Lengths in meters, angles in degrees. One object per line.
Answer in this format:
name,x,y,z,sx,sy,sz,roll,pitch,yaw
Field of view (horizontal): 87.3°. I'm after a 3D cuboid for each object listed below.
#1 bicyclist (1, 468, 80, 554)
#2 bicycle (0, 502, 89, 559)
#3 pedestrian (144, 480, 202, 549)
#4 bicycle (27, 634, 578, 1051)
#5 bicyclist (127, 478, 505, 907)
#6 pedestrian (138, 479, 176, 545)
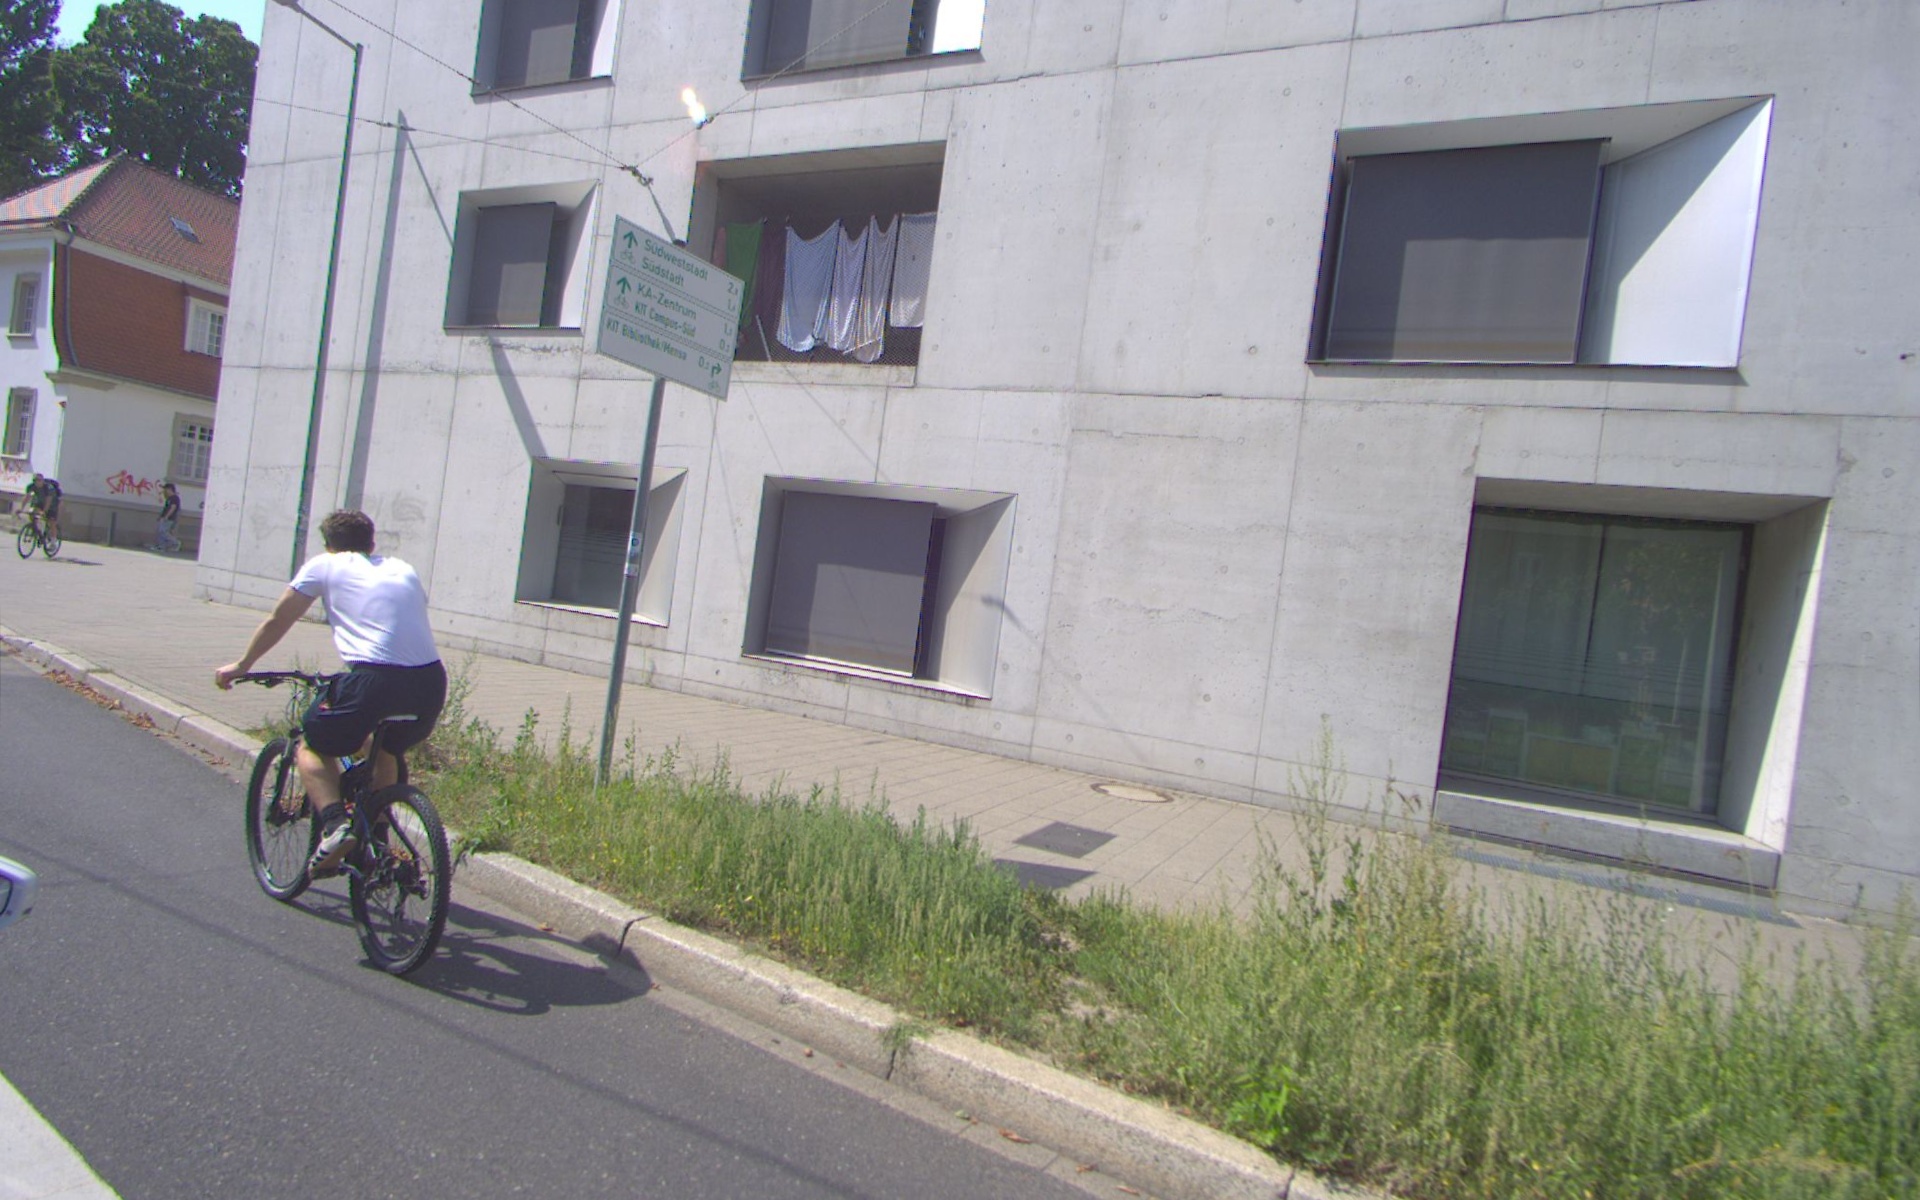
bicyclist,-19.017,-1.813,20.830,0.618,1.618,0.991,8,0,-9
bicycle,-19.108,-1.426,20.908,0.605,1.011,1.709,8,-1,-8
pedestrian,-21.360,-2.326,27.321,0.717,1.686,0.878,8,0,31
bicycle,-2.707,0.837,4.084,2.193,1.061,0.741,8,0,25
bicyclist,-2.551,0.327,4.024,0.944,1.429,0.747,8,0,25
pedestrian,-22.032,-2.412,27.602,0.609,1.686,0.486,8,0,30
